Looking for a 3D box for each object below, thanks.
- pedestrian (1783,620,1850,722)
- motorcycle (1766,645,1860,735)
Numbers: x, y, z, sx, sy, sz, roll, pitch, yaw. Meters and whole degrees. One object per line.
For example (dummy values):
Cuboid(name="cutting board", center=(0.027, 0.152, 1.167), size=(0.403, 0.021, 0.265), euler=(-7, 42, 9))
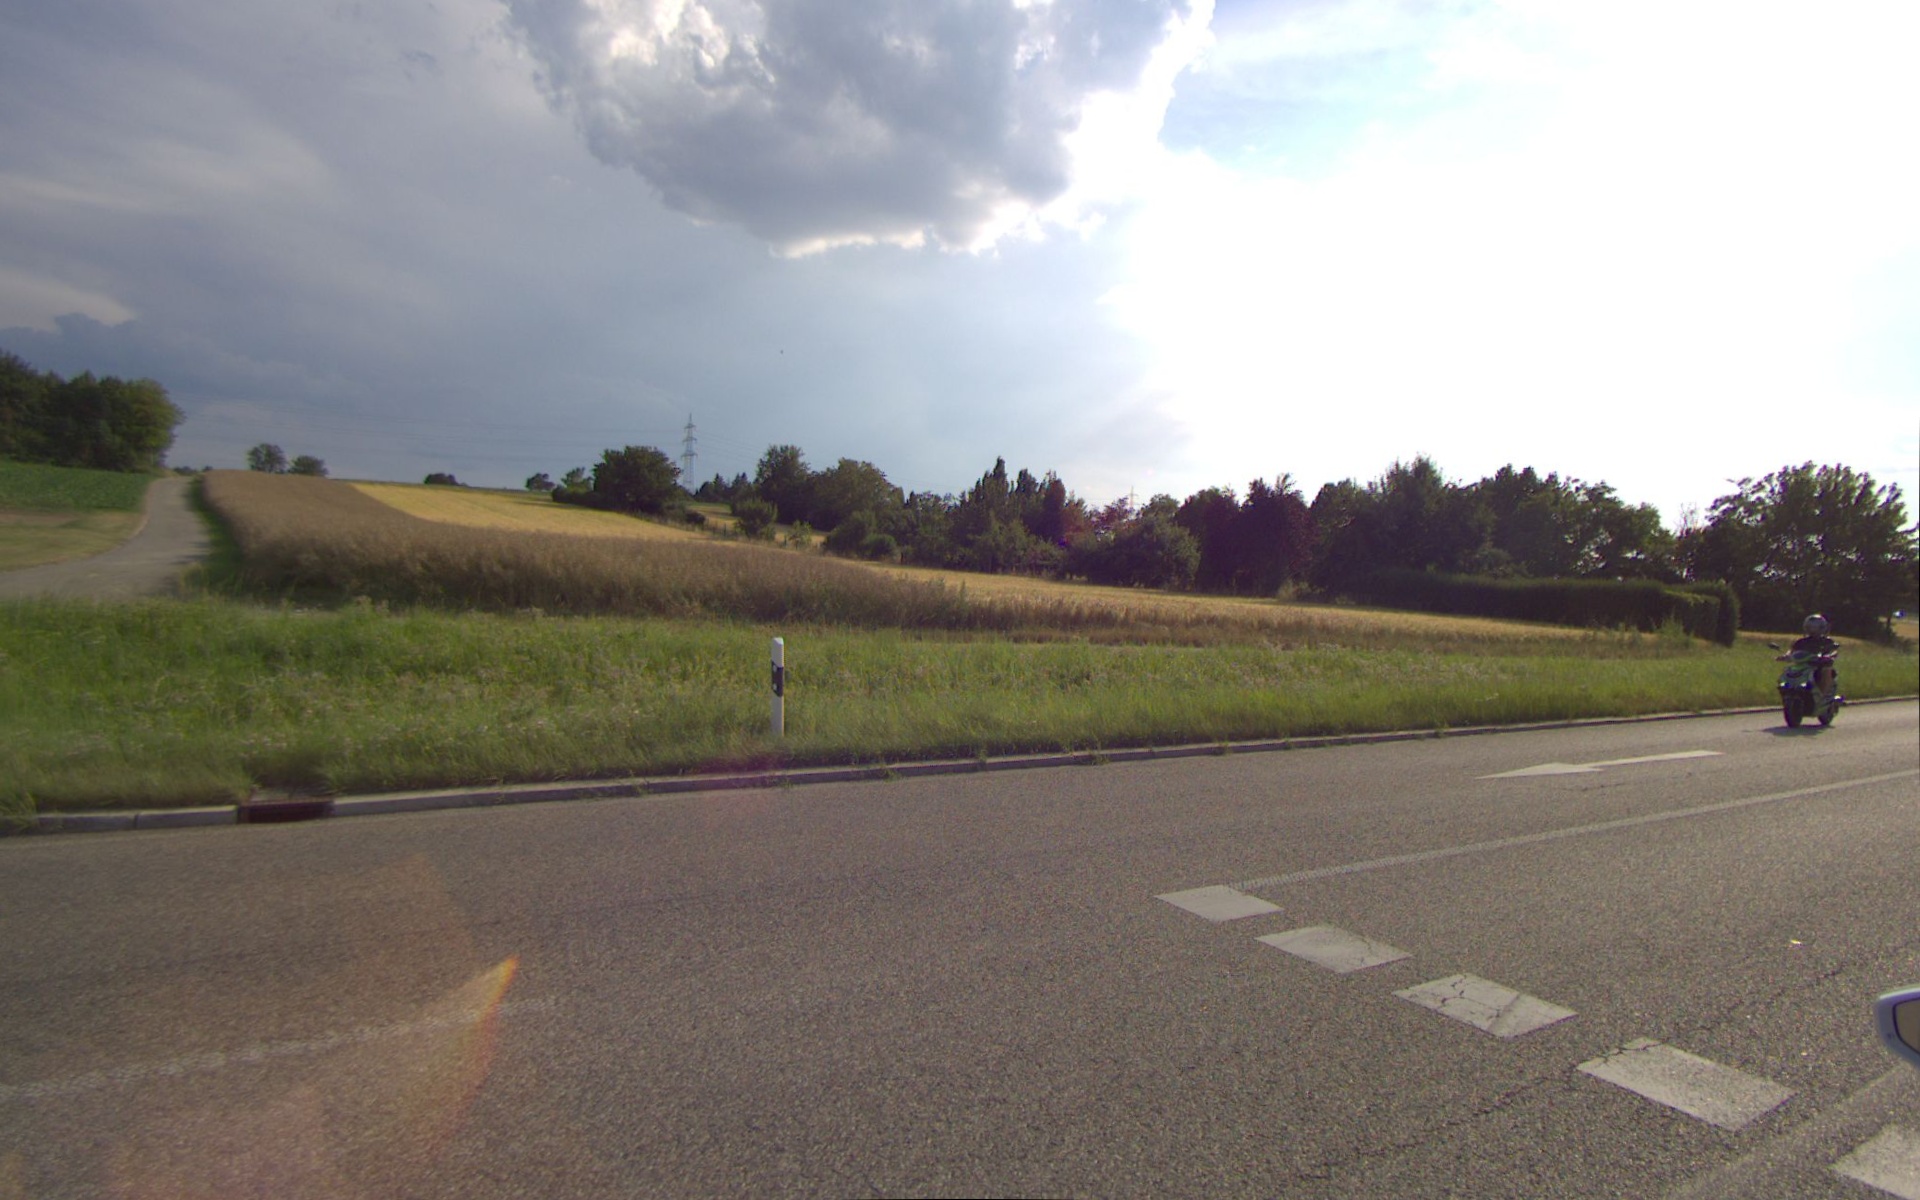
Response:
Cuboid(name="pedestrian", center=(13.396, 1.094, 15.706), size=(0.856, 1.525, 0.562), euler=(1, 1, -35))
Cuboid(name="motorcycle", center=(13.310, 1.361, 15.654), size=(2.099, 1.277, 0.581), euler=(1, 1, -35))
